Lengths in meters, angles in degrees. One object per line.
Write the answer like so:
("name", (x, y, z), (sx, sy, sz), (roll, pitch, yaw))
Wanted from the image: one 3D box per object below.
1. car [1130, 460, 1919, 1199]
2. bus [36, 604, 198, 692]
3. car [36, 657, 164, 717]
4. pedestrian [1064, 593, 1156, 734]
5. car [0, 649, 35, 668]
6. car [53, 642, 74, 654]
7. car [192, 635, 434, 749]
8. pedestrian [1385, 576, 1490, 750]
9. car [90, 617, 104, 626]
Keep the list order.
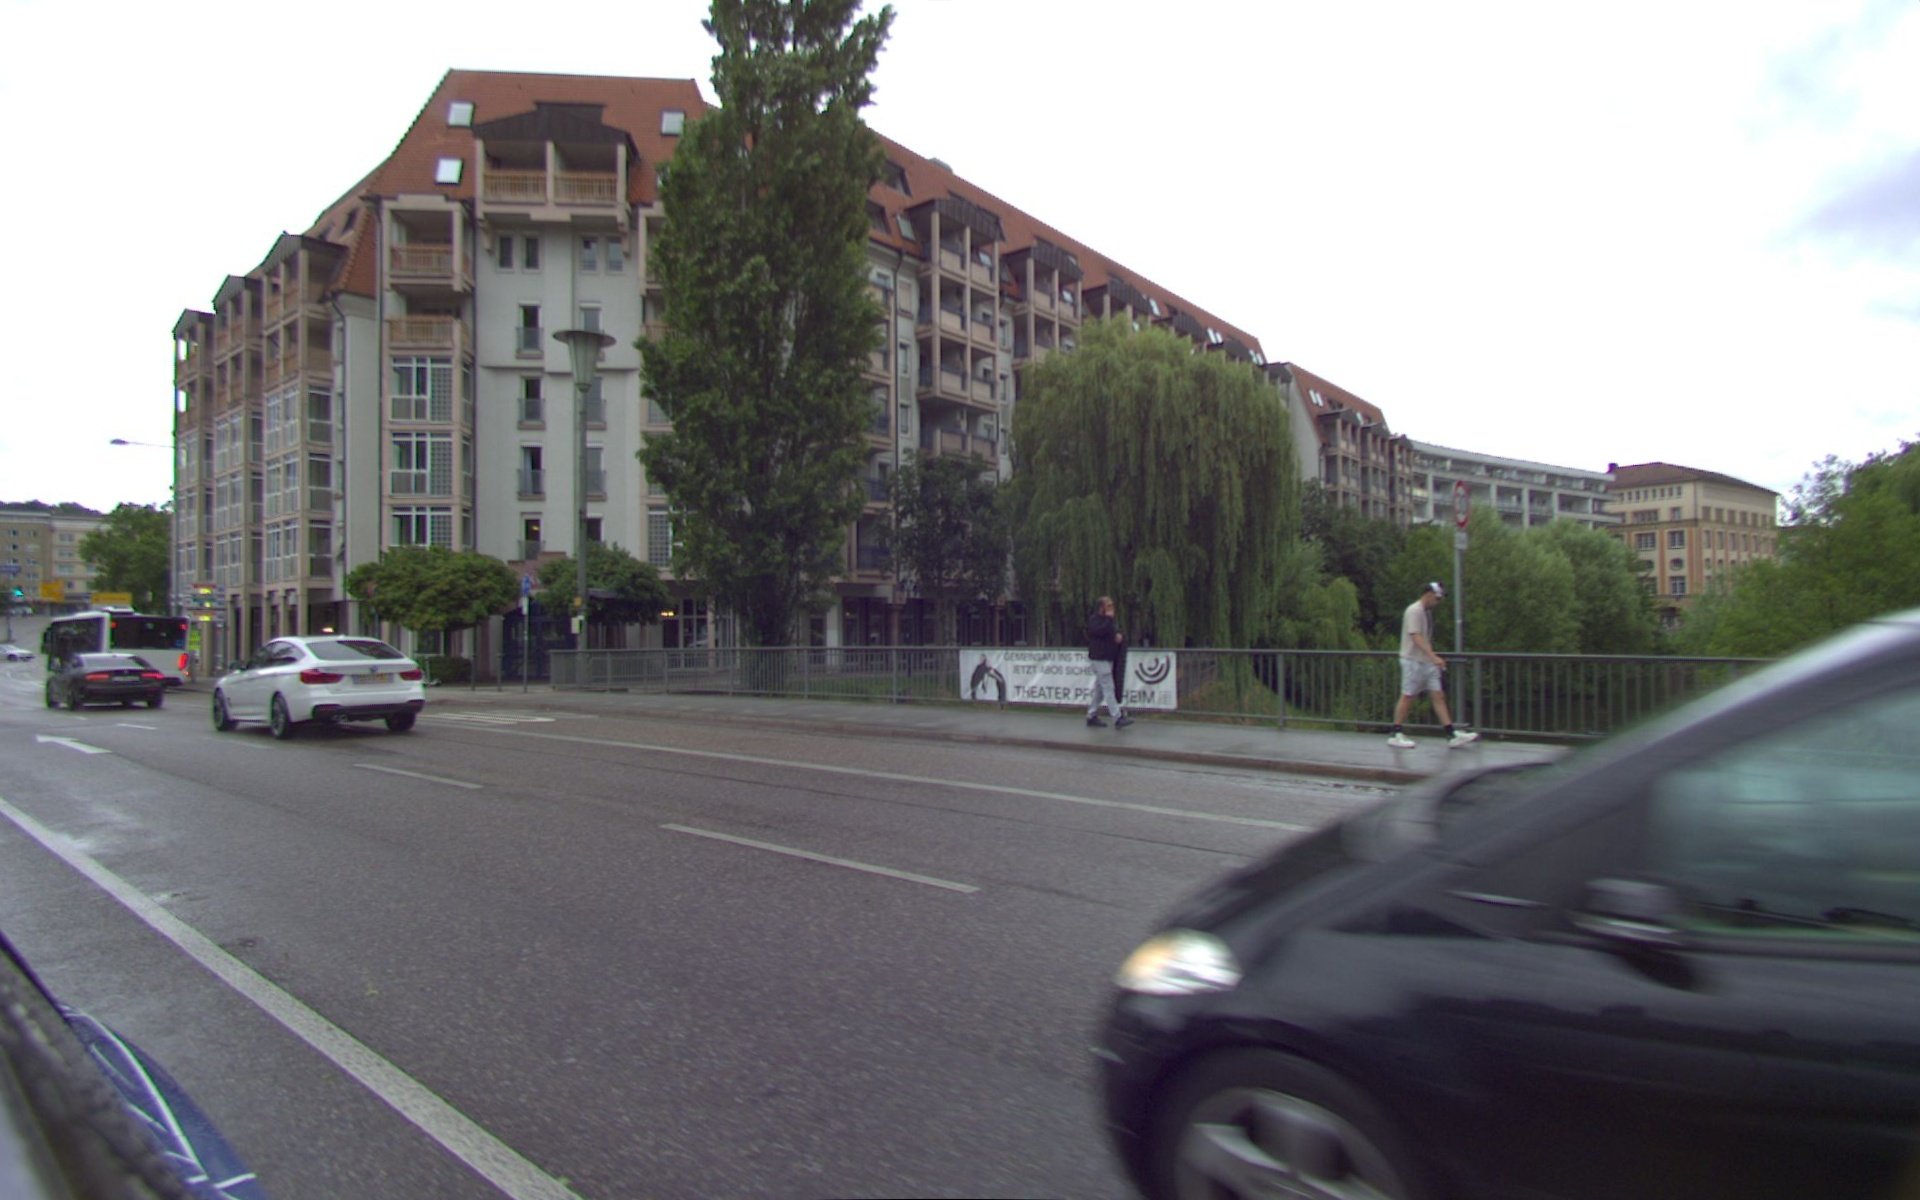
("car", (2.411, 0.618, 1.569), (3.916, 1.614, 1.719), (-2, -4, 40))
("bus", (-33.818, 2.097, 40.328), (12.225, 3.099, 2.716), (-4, -6, 40))
("car", (-22.018, 2.160, 25.865), (4.402, 1.335, 1.773), (-2, -2, 40))
("pedestrian", (2.013, 0.831, 13.597), (0.958, 1.807, 0.690), (-2, -1, 43))
("car", (-79.944, 4.876, 84.289), (3.934, 1.420, 1.775), (-1, 0, -11))
("car", (-110.706, 5.938, 124.913), (1.737, 1.431, 4.100), (3, -3, -44))
("car", (-10.328, 1.337, 16.012), (4.815, 1.521, 1.818), (-2, -2, 39))
("pedestrian", (5.255, 0.663, 11.140), (0.812, 1.807, 0.788), (-2, -1, 42))
("car", (-147.526, 3.645, 173.018), (1.691, 1.490, 3.965), (3, -2, -38))
